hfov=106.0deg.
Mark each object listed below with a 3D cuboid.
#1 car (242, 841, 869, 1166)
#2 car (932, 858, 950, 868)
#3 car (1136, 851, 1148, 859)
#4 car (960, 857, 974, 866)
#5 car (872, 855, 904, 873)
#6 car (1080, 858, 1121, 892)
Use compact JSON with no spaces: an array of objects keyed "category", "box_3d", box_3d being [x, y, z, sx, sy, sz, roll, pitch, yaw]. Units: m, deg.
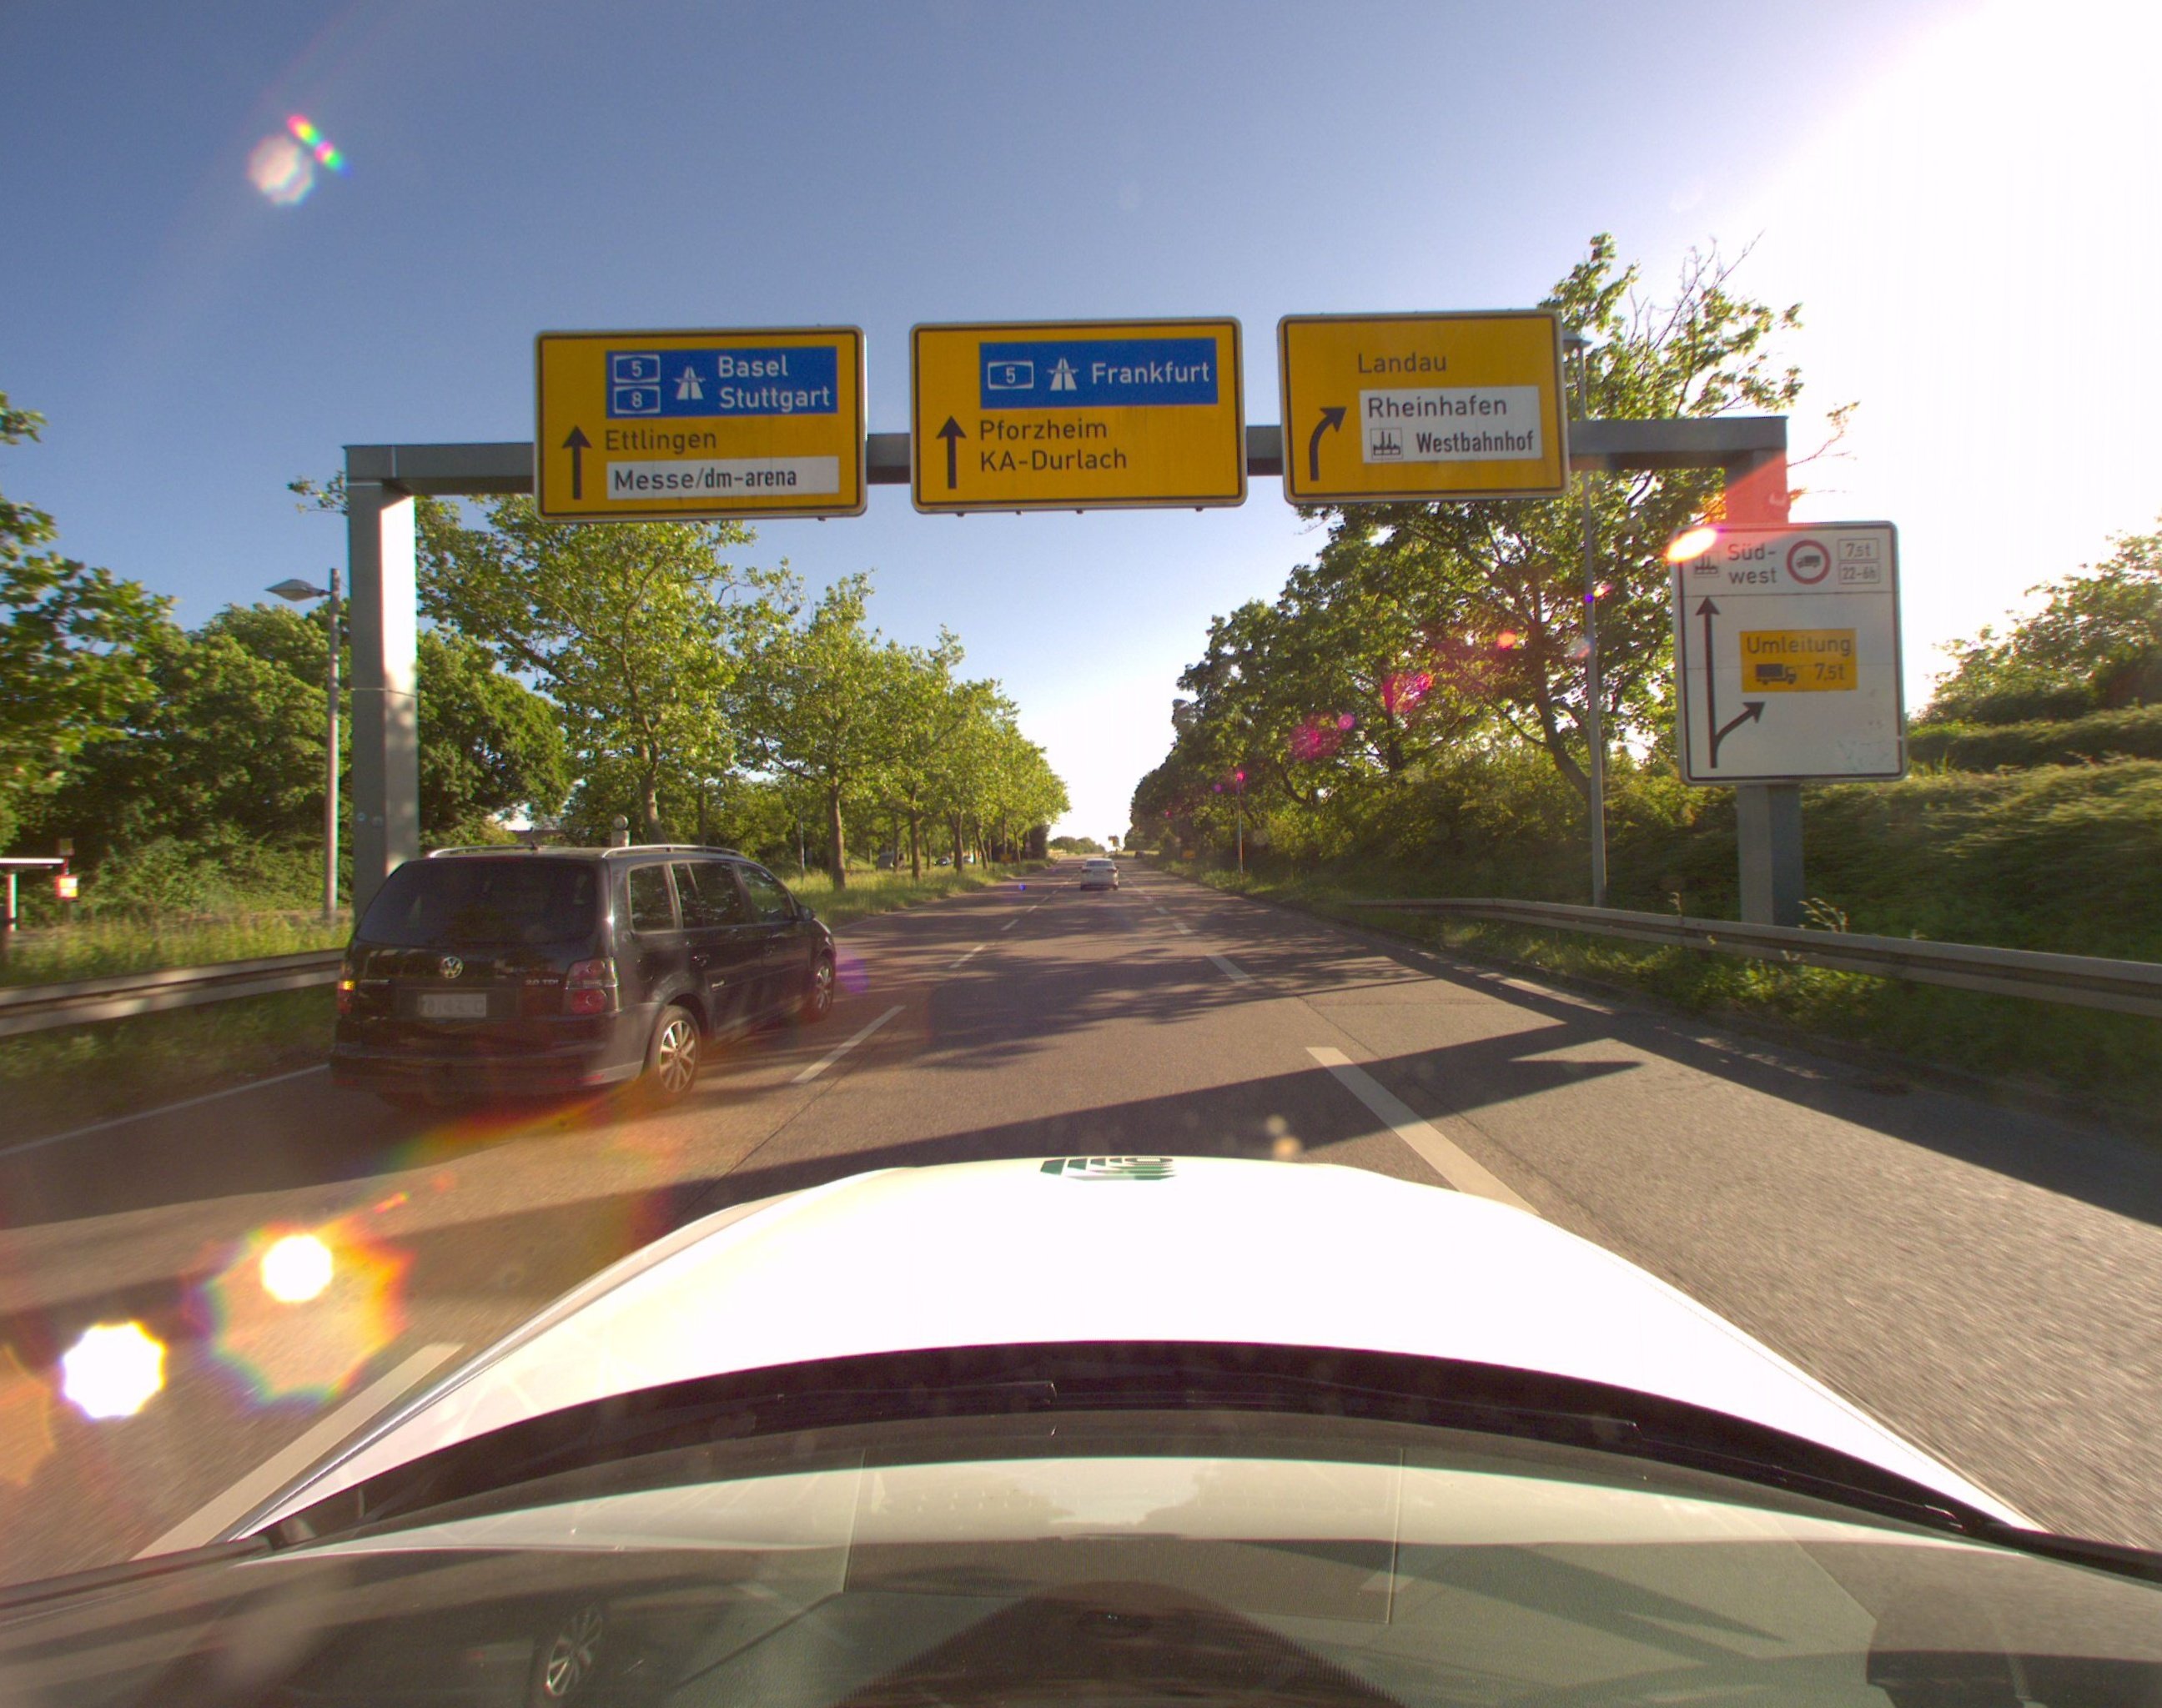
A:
[{"category":"car","box_3d":[-3.309,0.775,6.600,1.761,1.644,4.925,0,0,2]},{"category":"car","box_3d":[-21.022,1.354,122.399,1.761,1.464,4.367,-1,0,1]},{"category":"car","box_3d":[12.175,0.165,163.299,1.755,1.464,4.381,-2,0,12]},{"category":"car","box_3d":[-19.679,1.237,140.923,1.761,1.464,4.367,-1,0,1]},{"category":"car","box_3d":[-22.197,1.156,93.715,2.127,1.901,5.743,-1,0,1]},{"category":"car","box_3d":[1.012,0.963,39.324,1.760,1.464,4.370,-2,0,4]}]
